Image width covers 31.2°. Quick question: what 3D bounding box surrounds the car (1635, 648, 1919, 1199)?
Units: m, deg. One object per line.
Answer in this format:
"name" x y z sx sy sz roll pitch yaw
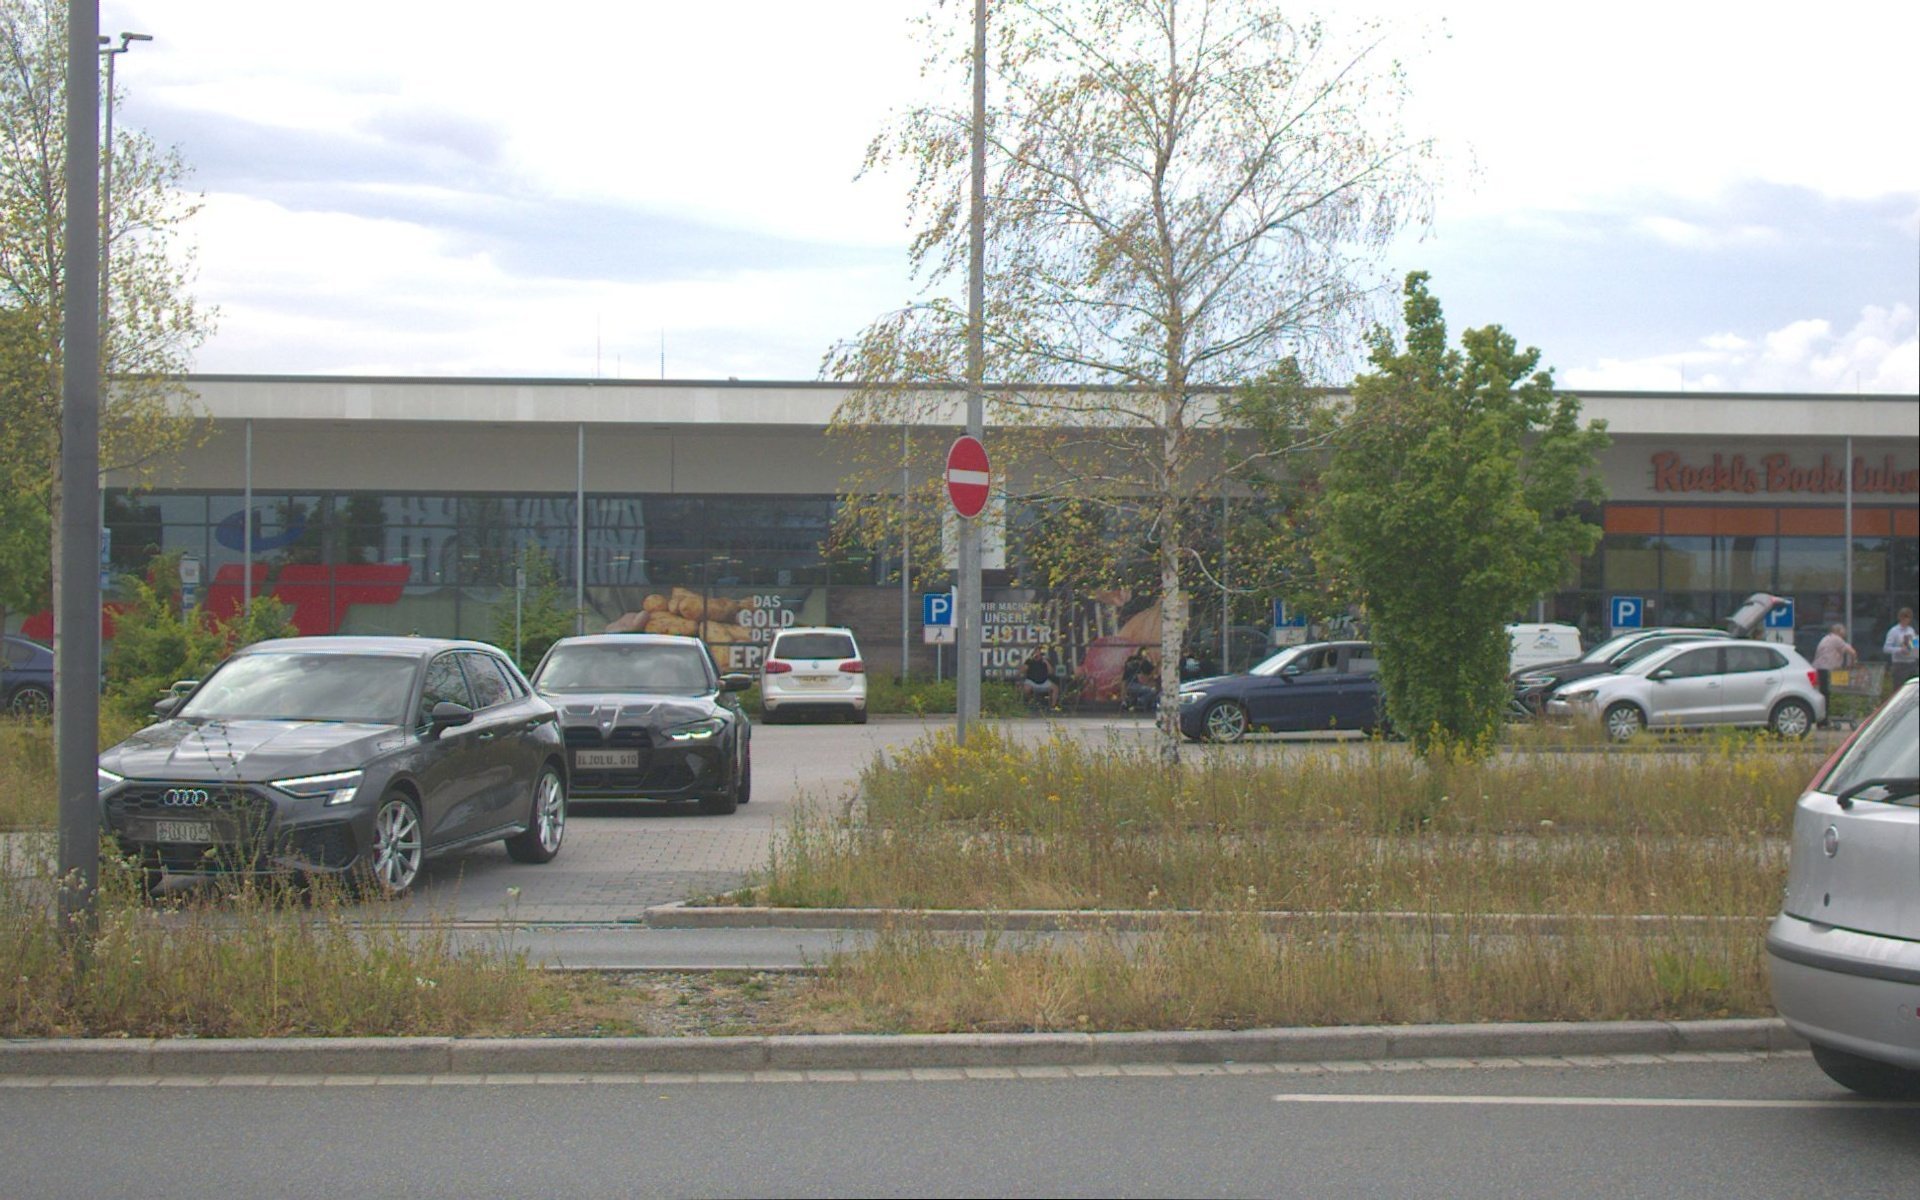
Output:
"car" 4.246 0.923 10.661 3.802 1.456 1.801 0 2 -10

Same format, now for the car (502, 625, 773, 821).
"car" -2.532 0.951 27.962 1.779 1.441 4.610 1 -1 0

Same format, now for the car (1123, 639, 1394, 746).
"car" 4.229 1.311 48.986 3.606 1.449 1.668 1 0 -5

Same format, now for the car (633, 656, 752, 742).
"car" -4.768 1.758 61.646 1.906 1.439 4.000 0 0 -1

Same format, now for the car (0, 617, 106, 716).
"car" -16.520 1.047 55.670 5.006 1.552 2.000 1 -1 -8

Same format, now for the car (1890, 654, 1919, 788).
"car" 10.899 1.257 34.967 1.989 1.380 4.149 1 -1 4

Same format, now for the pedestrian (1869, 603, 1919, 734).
"pedestrian" 14.657 1.058 53.276 0.865 2.007 1.003 1 0 1

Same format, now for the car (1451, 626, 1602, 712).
"car" 10.329 1.238 62.967 1.993 1.503 4.000 1 0 -2

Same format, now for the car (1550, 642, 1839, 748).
"car" 10.562 1.357 49.553 3.746 1.449 1.668 1 0 -4

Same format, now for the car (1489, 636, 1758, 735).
"car" 10.139 1.296 52.680 3.746 1.449 1.668 1 0 -4

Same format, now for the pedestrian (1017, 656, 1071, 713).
"pedestrian" 1.739 1.755 71.447 0.970 1.150 1.133 1 0 -5

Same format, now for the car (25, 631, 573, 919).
"car" -3.740 0.934 20.279 1.792 1.461 4.319 1 0 9

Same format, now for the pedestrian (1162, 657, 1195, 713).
"pedestrian" 4.463 1.734 70.176 0.576 1.120 0.562 0 0 -7

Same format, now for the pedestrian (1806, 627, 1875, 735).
"pedestrian" 13.455 1.231 52.531 0.821 1.626 0.899 1 -1 1

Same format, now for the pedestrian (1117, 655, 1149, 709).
"pedestrian" 3.577 1.694 71.076 0.576 1.120 0.562 0 0 -7

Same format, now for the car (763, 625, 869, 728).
"car" -2.555 1.344 61.793 1.824 1.694 4.234 0 1 -1
